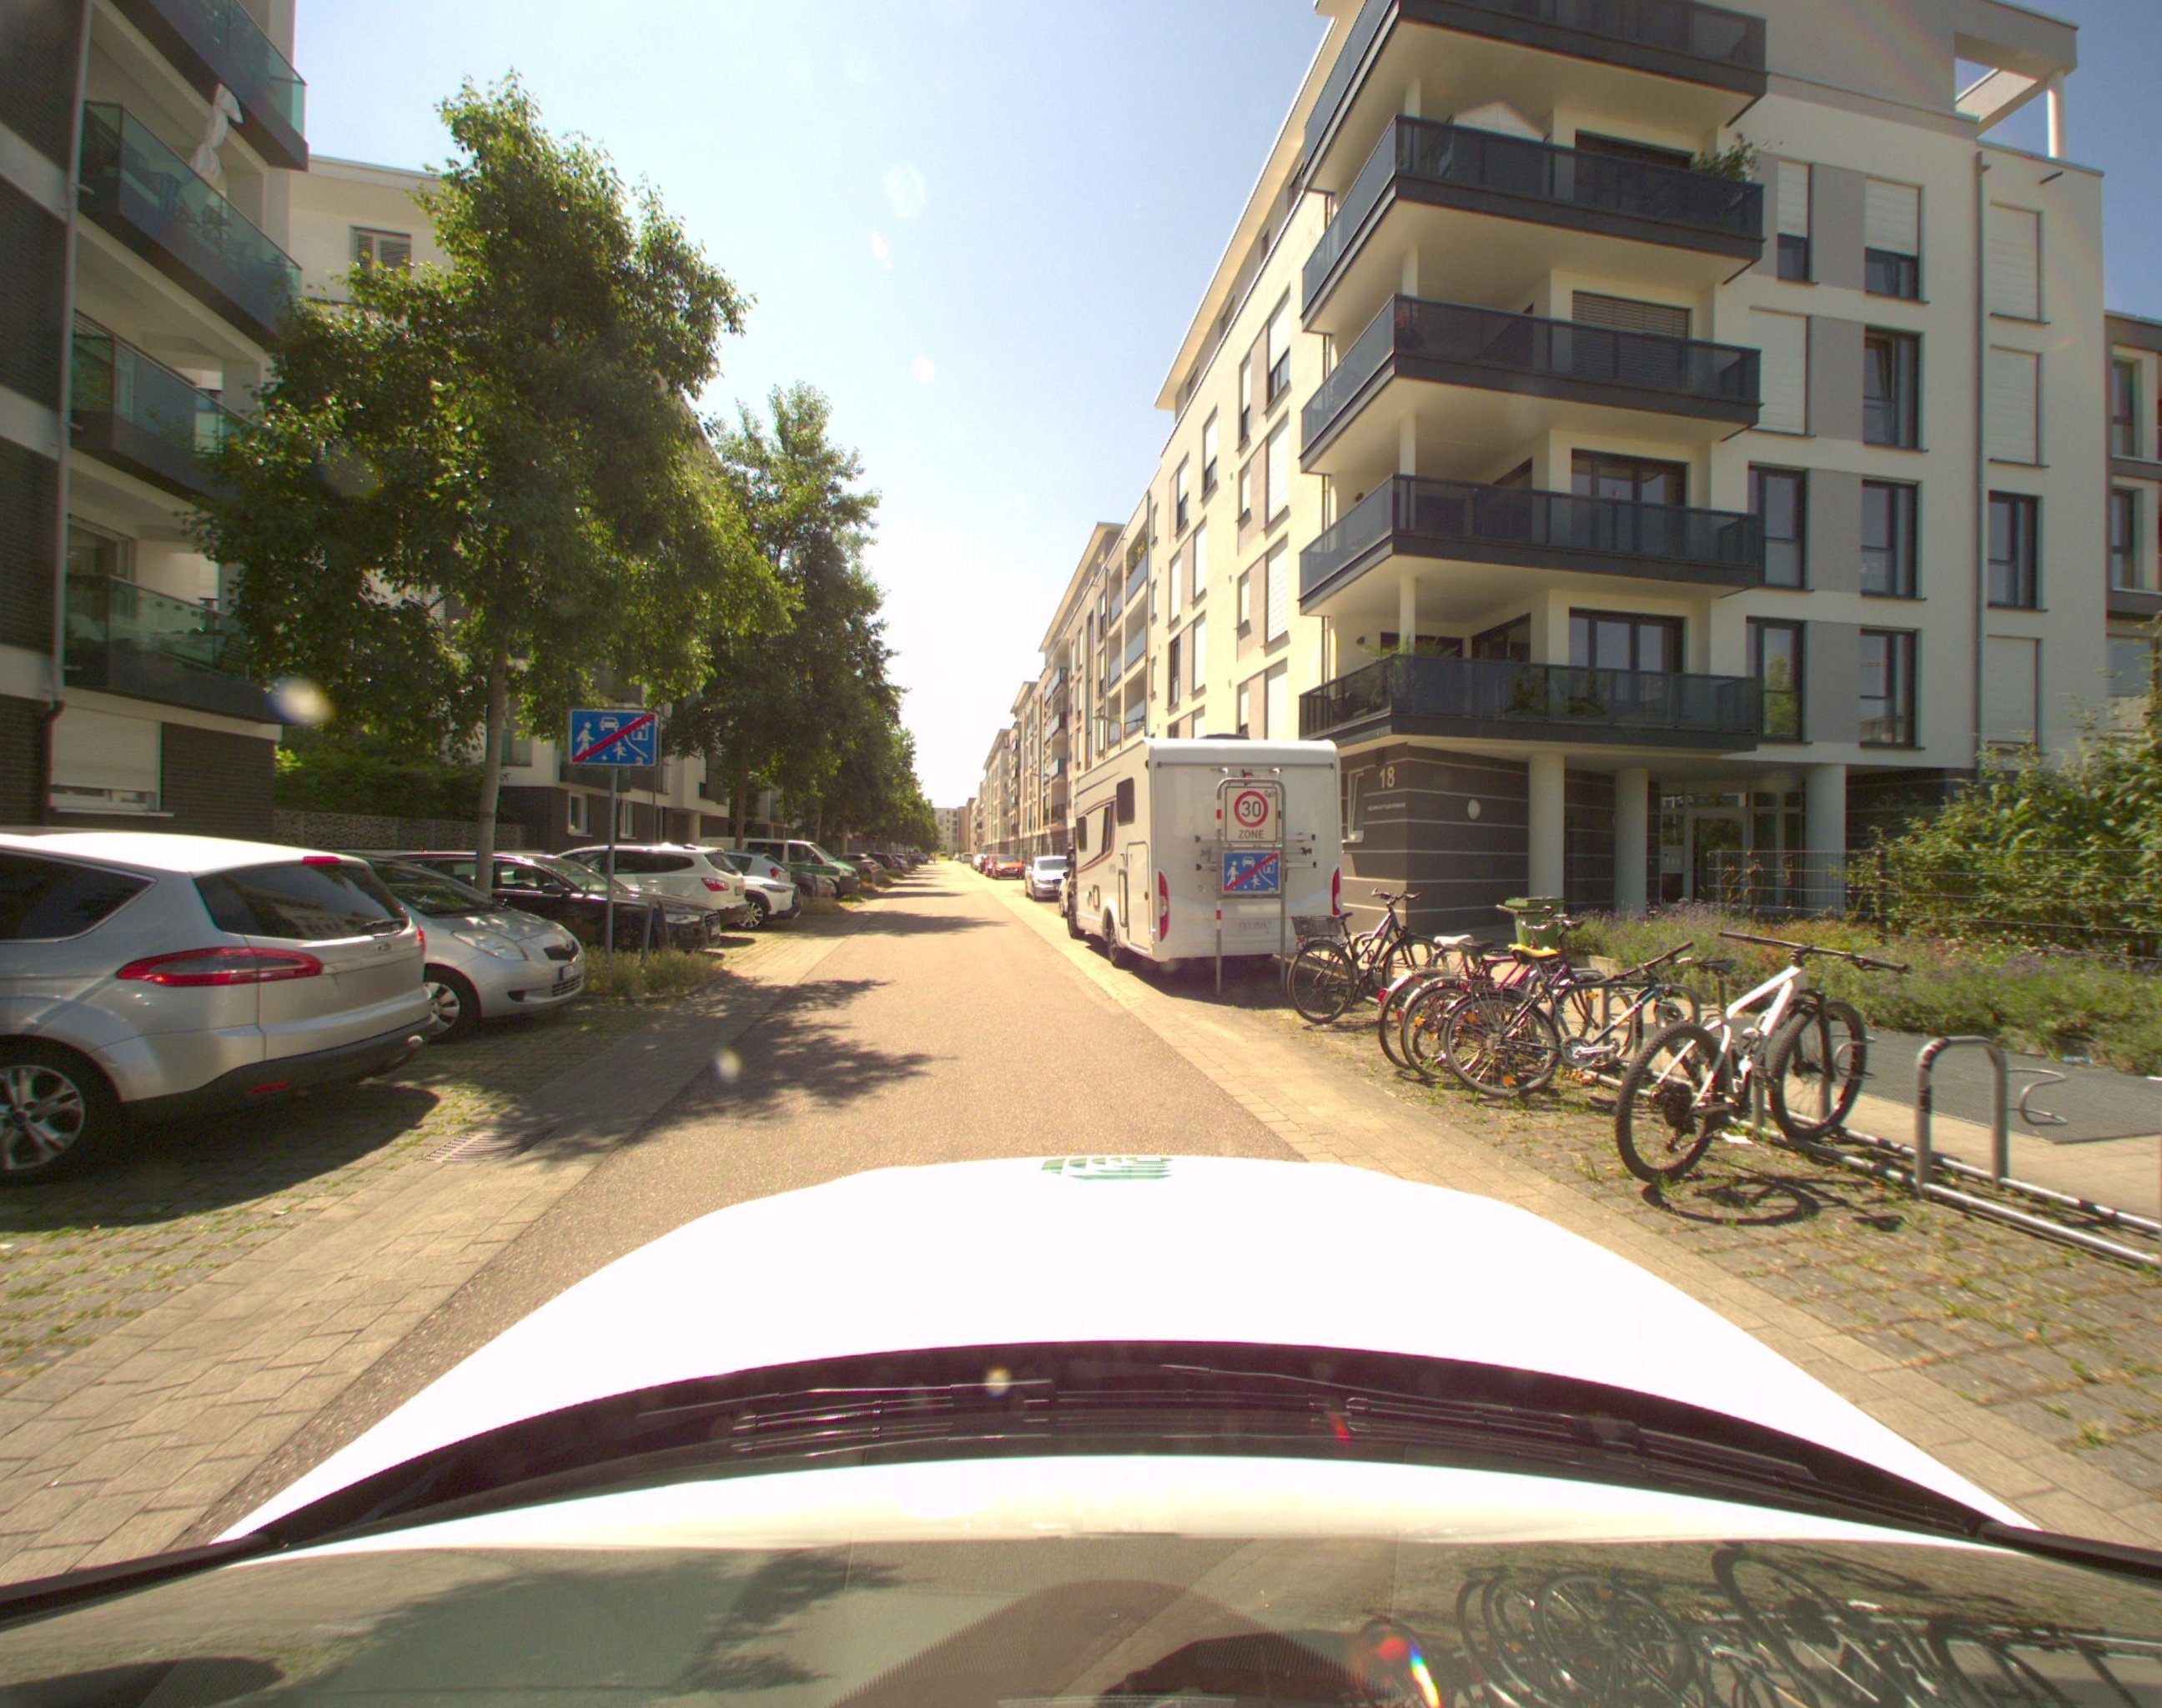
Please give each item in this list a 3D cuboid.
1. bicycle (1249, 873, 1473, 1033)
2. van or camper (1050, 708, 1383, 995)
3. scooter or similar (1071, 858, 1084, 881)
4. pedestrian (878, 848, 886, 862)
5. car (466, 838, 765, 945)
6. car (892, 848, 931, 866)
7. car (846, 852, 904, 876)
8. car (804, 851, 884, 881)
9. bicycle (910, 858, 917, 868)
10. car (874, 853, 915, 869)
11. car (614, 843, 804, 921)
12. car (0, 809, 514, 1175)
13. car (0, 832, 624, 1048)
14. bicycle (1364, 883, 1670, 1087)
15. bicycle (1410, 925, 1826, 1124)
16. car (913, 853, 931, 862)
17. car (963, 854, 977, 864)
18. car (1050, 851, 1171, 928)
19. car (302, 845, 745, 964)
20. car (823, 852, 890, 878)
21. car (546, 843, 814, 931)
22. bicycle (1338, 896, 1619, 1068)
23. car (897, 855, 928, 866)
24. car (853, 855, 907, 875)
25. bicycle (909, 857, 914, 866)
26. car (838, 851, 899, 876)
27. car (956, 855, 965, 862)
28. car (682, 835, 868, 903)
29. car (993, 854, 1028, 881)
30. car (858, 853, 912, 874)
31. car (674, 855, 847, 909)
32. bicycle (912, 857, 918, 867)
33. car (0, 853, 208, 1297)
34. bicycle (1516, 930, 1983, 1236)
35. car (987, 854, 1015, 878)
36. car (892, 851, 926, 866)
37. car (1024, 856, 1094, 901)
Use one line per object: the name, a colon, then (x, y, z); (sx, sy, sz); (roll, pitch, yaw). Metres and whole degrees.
bicycle: (2.581, 0.831, 7.472); (1.926, 1.222, 0.820); (-2, 1, -26)
van or camper: (1.319, 0.042, 12.320); (2.439, 2.906, 7.797); (1, -1, -11)
scooter or similar: (-0.204, 0.841, 44.112); (0.543, 1.225, 1.531); (1, 0, 5)
pedestrian: (-28.973, 0.160, 118.510); (1.008, 2.014, 1.127); (0, 0, -7)
car: (-7.844, 0.630, 14.132); (3.977, 1.629, 1.944); (2, -1, -8)
car: (-27.664, 0.522, 133.047); (6.024, 2.816, 2.596); (0, 0, -10)
car: (-15.269, 0.731, 60.545); (3.985, 1.651, 1.913); (2, 0, -8)
car: (-13.967, 0.705, 48.180); (4.253, 1.518, 1.918); (3, -1, -11)
bicycle: (-19.083, 1.063, 92.811); (0.435, 1.128, 1.964); (0, 0, -21)
car: (-19.501, 0.751, 85.240); (4.185, 1.486, 1.950); (1, -2, -14)
car: (-8.671, 0.645, 19.320); (3.680, 1.676, 1.845); (2, -1, -11)
car: (-6.358, 0.590, 4.328); (5.032, 1.632, 2.034); (1, 0, -13)
car: (-6.625, 0.666, 7.034); (4.255, 1.530, 1.814); (2, 0, -13)
bicycle: (2.900, 0.826, 5.463); (1.849, 1.223, 0.554); (0, 0, -9)
bicycle: (3.066, 0.961, 4.850); (1.846, 0.975, 0.946); (-1, 0, 3)
car: (-37.214, 0.886, 190.911); (3.978, 2.014, 1.998); (0, 0, -4)
car: (-17.645, 0.806, 129.336); (1.997, 1.657, 4.102); (0, 0, -9)
car: (0.532, 0.707, 18.542); (1.808, 1.505, 4.244); (-1, 0, -12)
car: (-7.640, 0.698, 11.692); (4.850, 1.457, 1.823); (2, -1, -10)
car: (-14.600, 0.700, 53.136); (3.986, 1.592, 1.878); (2, 0, -9)
car: (-7.998, 0.676, 16.769); (4.565, 1.594, 1.956); (2, -1, -15)
bicycle: (2.833, 0.877, 5.833); (1.882, 1.110, 0.474); (0, 0, -9)
car: (-24.994, 0.946, 120.746); (4.383, 1.515, 2.068); (2, -1, -10)
car: (-15.589, 0.840, 63.165); (3.979, 1.445, 1.767); (2, -1, -14)
bicycle: (-23.073, 1.045, 110.848); (0.434, 1.204, 1.695); (2, 1, -9)
car: (-15.104, 0.660, 58.018); (3.987, 1.629, 1.927); (2, -1, -10)
car: (-29.027, 1.073, 196.818); (1.994, 1.675, 3.985); (0, 0, -11)
car: (-9.880, 0.468, 26.738); (5.339, 2.110, 2.181); (0, 0, -8)
car: (-4.219, 0.778, 48.254); (1.737, 1.487, 4.245); (-1, 0, -9)
car: (-16.826, 0.794, 70.047); (4.364, 1.710, 1.992); (-2, 0, -12)
car: (-9.280, 0.774, 23.966); (4.423, 1.490, 1.992); (0, 0, -12)
bicycle: (-22.646, 1.077, 110.917); (0.571, 1.174, 1.759); (3, 0, -16)
car: (-5.855, 0.624, 1.973); (4.822, 1.449, 1.820); (3, -1, -12)
bicycle: (3.197, 0.949, 3.904); (2.034, 1.003, 0.869); (-1, 0, -22)
car: (-5.323, 0.766, 53.661); (1.595, 1.485, 3.664); (-2, 0, -9)
car: (-26.911, 0.715, 127.682); (5.145, 2.119, 2.304); (1, 0, -10)
car: (-0.833, 0.773, 27.425); (1.845, 1.416, 4.412); (0, 0, -9)
